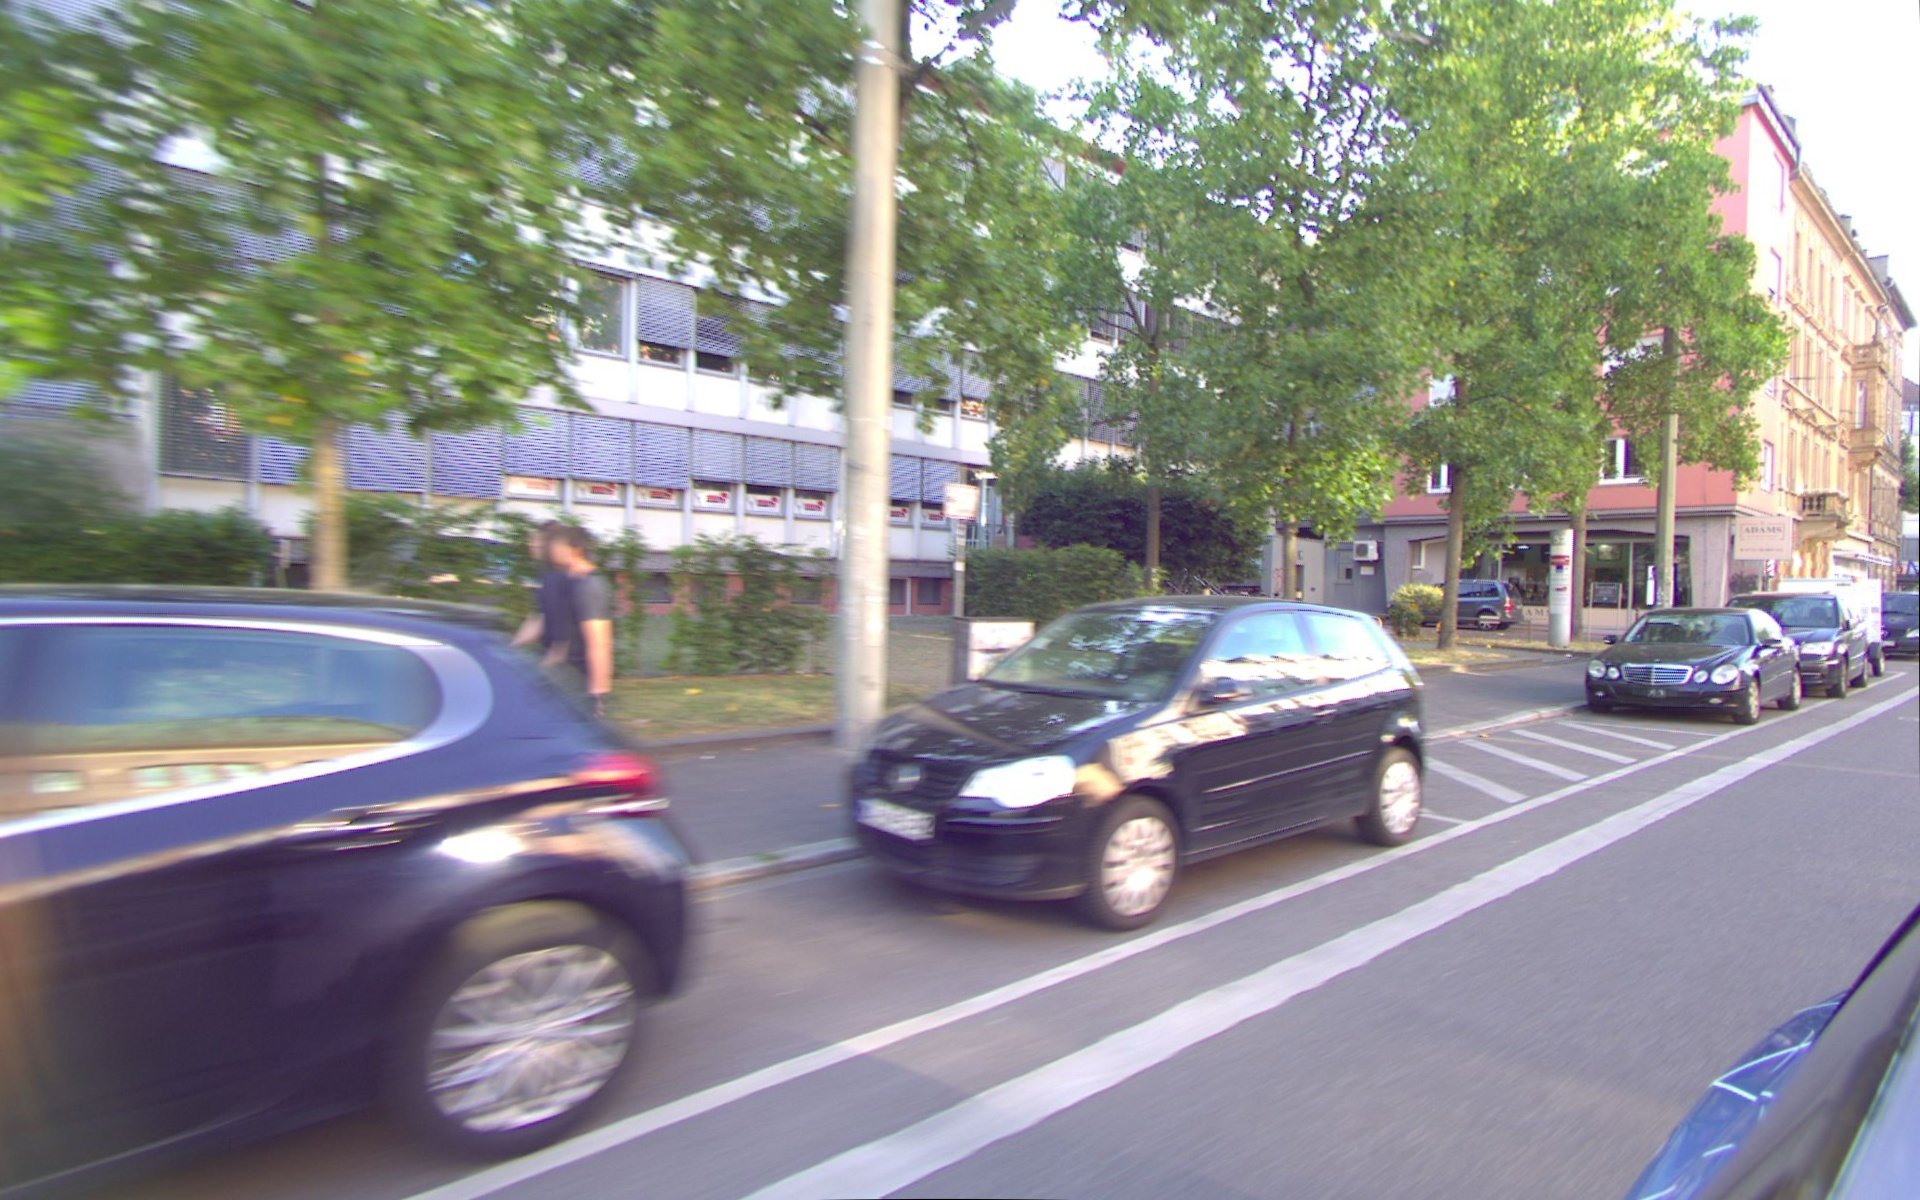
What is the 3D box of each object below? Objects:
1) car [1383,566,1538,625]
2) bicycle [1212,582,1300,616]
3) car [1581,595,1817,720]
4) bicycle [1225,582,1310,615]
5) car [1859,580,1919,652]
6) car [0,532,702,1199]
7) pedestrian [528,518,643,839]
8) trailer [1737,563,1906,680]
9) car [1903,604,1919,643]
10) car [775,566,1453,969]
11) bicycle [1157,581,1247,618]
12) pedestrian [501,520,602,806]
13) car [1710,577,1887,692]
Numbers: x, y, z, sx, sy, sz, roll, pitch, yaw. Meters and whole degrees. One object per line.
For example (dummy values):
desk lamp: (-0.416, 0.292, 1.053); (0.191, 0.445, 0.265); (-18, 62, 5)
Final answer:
car: (16.871, -0.198, 34.263); (1.563, 1.692, 4.360); (0, 4, -44)
bicycle: (10.038, -0.060, 34.427); (0.809, 1.071, 2.799); (0, 2, -45)
car: (10.163, 0.664, 13.798); (4.139, 1.446, 1.782); (0, 0, -42)
bicycle: (10.678, -0.071, 35.236); (0.809, 1.071, 2.799); (0, 2, -45)
car: (26.454, 0.407, 28.132); (4.615, 1.866, 1.695); (0, 0, -42)
car: (-2.733, 0.632, 2.283); (3.843, 1.511, 1.686); (0, 0, -41)
pedestrian: (-2.143, 0.413, 5.776); (0.429, 1.734, 0.494); (0, 3, -41)
trailer: (18.101, 0.387, 21.175); (5.219, 2.176, 1.783); (0, 0, -39)
car: (31.338, 0.745, 32.388); (3.033, 1.205, 1.418); (0, 0, -42)
car: (1.059, 0.622, 5.647); (3.831, 1.513, 1.597); (0, 0, -39)
bicycle: (7.757, -0.030, 32.570); (0.809, 1.071, 2.799); (0, 2, -45)
pedestrian: (-2.614, 0.371, 6.461); (0.429, 1.734, 0.494); (0, 3, -41)
car: (14.743, 0.521, 17.704); (4.398, 1.767, 1.782); (0, 0, -42)
